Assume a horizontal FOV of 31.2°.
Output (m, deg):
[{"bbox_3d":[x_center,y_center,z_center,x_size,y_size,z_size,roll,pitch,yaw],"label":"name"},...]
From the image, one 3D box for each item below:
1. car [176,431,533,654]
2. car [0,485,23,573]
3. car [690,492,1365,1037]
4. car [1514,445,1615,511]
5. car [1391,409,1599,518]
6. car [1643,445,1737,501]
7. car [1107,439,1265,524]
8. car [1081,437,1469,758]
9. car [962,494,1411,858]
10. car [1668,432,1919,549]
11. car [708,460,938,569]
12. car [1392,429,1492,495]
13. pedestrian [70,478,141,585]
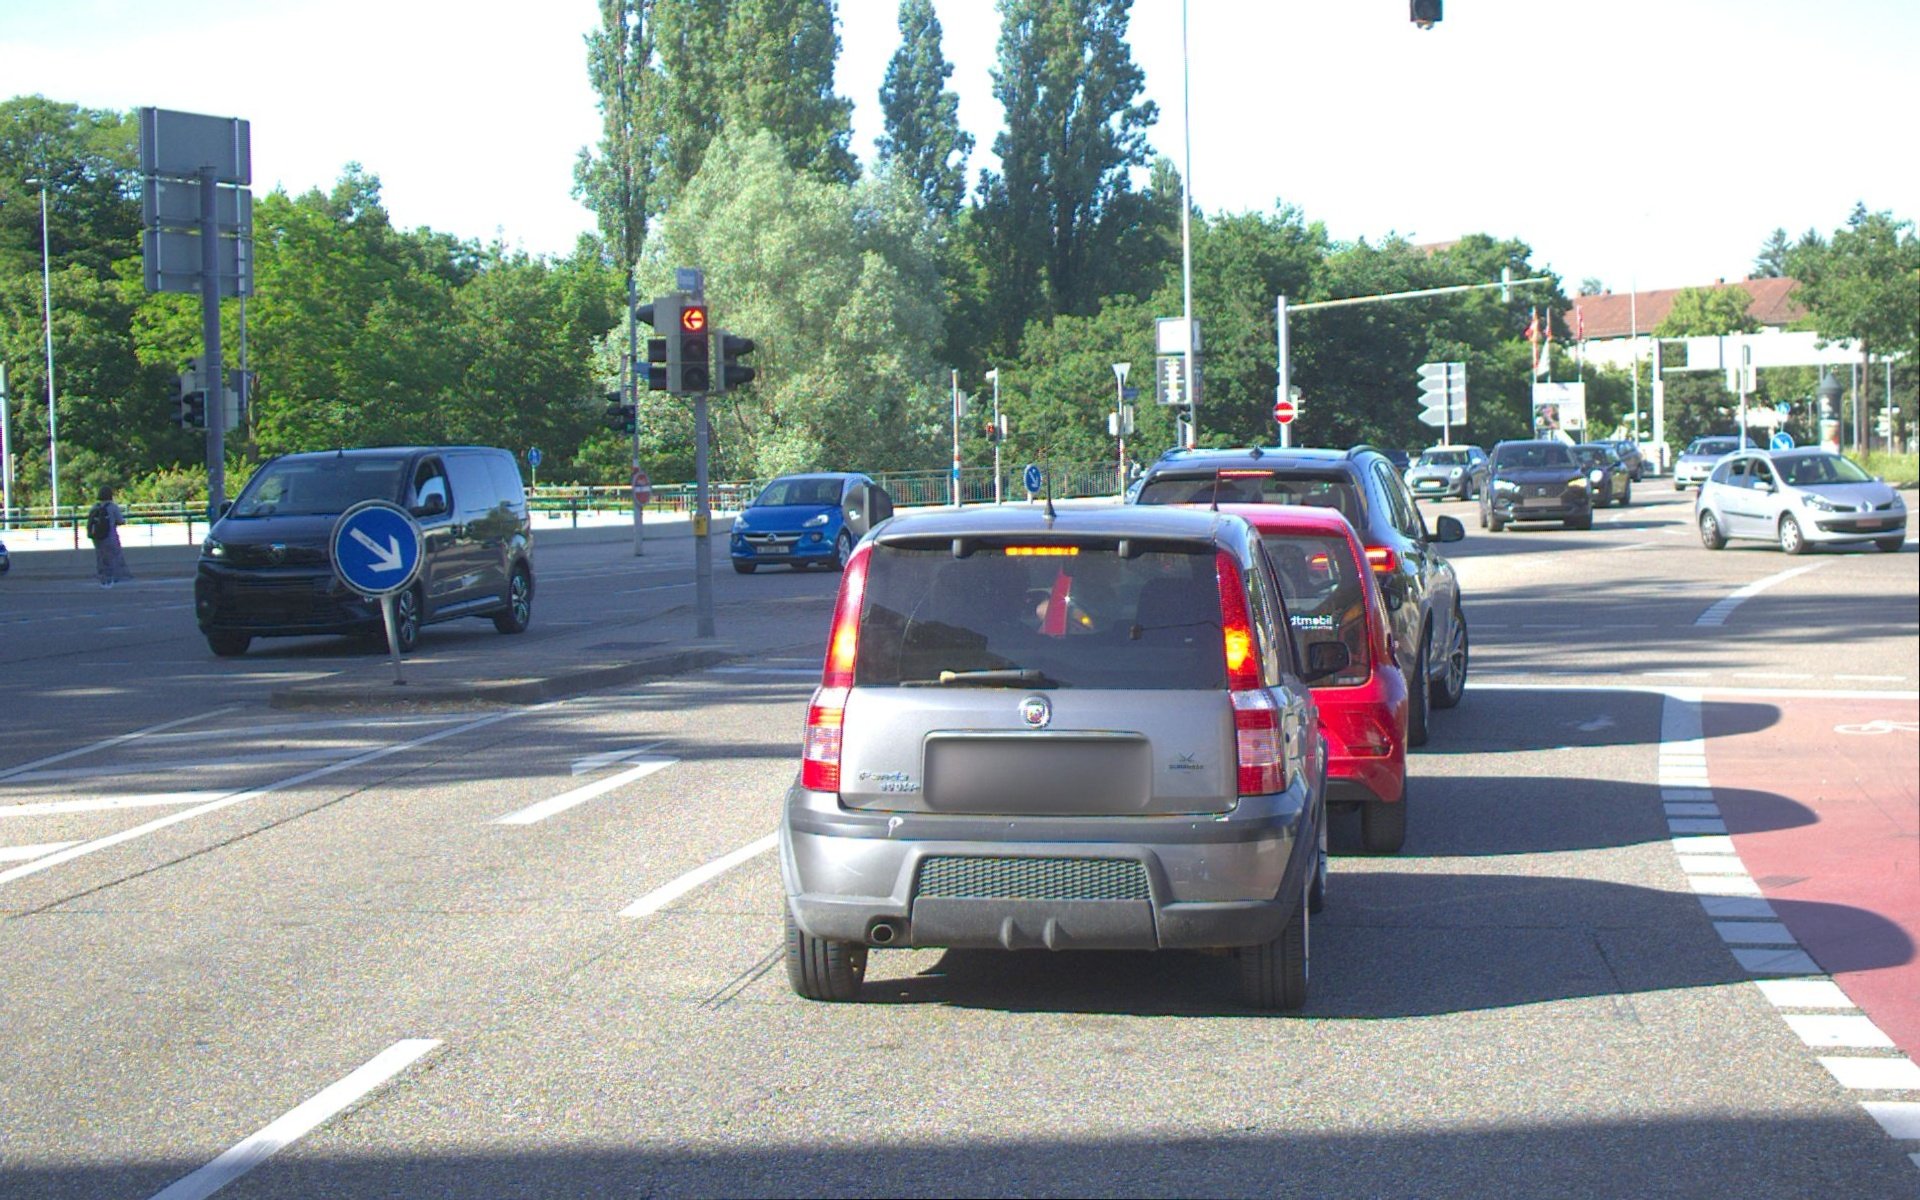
[{"bbox_3d":[-5.653,-0.608,32.784,1.994,1.928,4.851,-1,2,7],"label":"car"},{"bbox_3d":[-17.957,-1.110,56.897,4.441,1.433,1.824,-1,2,20],"label":"car"},{"bbox_3d":[0.410,0.401,11.821,1.821,1.484,3.999,1,2,8],"label":"car"},{"bbox_3d":[13.923,-2.786,79.072,1.995,1.448,3.998,-1,1,14],"label":"car"},{"bbox_3d":[9.858,-2.485,63.675,1.993,1.829,4.361,0,0,-19],"label":"car"},{"bbox_3d":[19.193,-3.349,90.270,1.769,1.382,4.356,-1,2,20],"label":"car"},{"bbox_3d":[4.729,-2.480,71.329,1.836,1.647,4.624,-1,2,23],"label":"car"},{"bbox_3d":[2.077,-0.117,21.487,1.870,1.784,4.412,1,3,12],"label":"car"},{"bbox_3d":[1.155,0.257,16.093,1.820,1.474,3.999,-1,2,7],"label":"car"},{"bbox_3d":[12.010,-1.585,49.677,1.819,1.577,4.105,-2,2,-15],"label":"car"},{"bbox_3d":[-2.015,-1.323,52.100,1.822,1.498,4.447,-1,2,21],"label":"car"},{"bbox_3d":[12.614,-3.587,89.782,1.688,1.452,3.909,-1,-2,21],"label":"car"},{"bbox_3d":[-12.859,-1.024,51.783,0.686,1.533,1.366,0,-2,1],"label":"pedestrian"}]
